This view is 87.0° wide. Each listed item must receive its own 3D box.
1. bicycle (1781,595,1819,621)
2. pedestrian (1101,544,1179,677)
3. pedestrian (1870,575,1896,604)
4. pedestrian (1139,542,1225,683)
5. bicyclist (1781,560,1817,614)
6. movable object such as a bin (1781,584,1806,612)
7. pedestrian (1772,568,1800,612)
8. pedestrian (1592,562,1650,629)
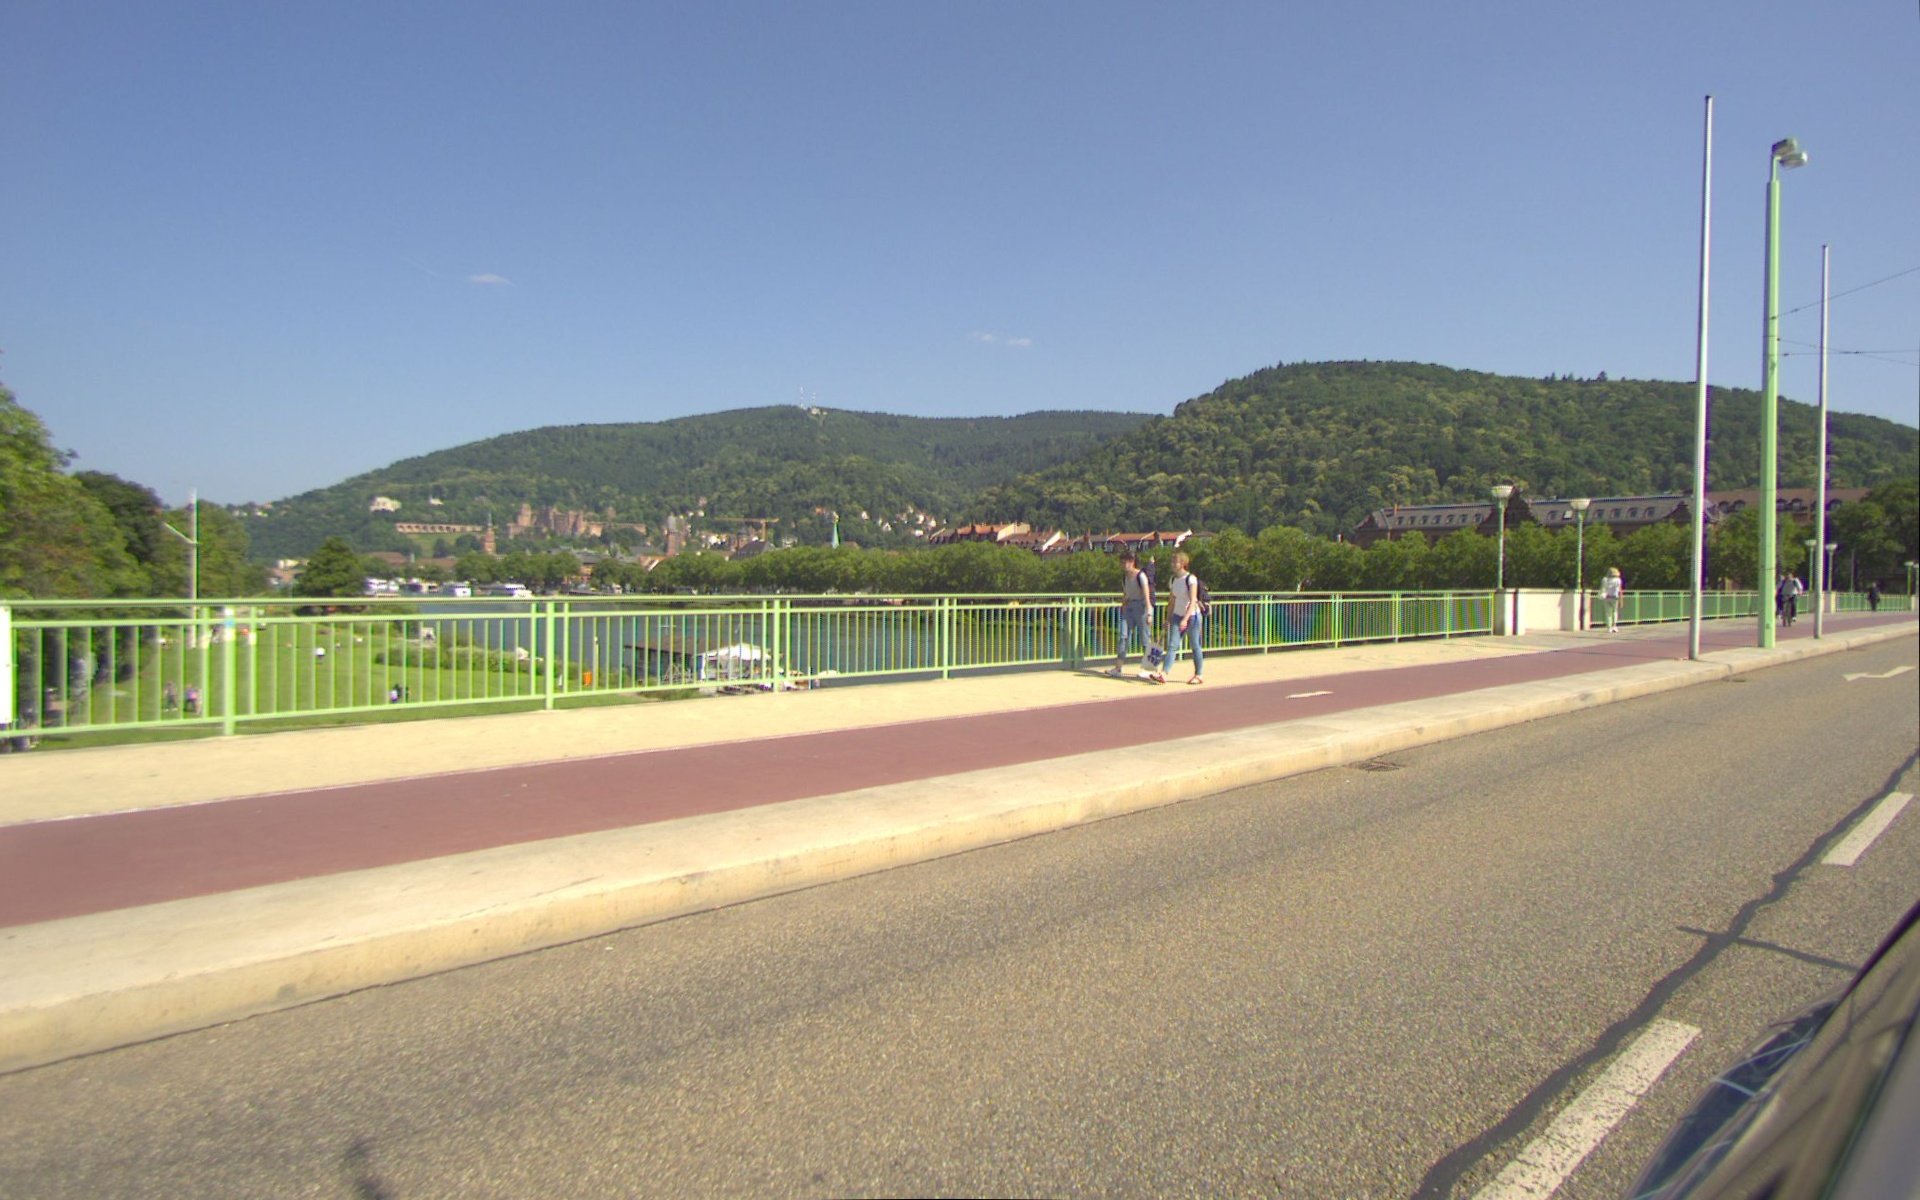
[{"bbox_3d":[26.907,0.259,32.411,1.834,0.775,0.595,-1,3,-41],"label":"bicycle"},{"bbox_3d":[2.369,0.119,13.337,0.733,1.679,0.668,-1,3,-41],"label":"pedestrian"},{"bbox_3d":[53.978,-0.629,59.184,1.063,1.683,0.949,0,3,-41],"label":"pedestrian"},{"bbox_3d":[2.751,0.131,12.554,0.811,1.679,0.664,-1,2,-41],"label":"pedestrian"},{"bbox_3d":[26.762,-0.409,32.280,0.829,1.685,0.731,0,2,-40],"label":"bicyclist"},{"bbox_3d":[33.301,-0.088,40.429,0.917,1.104,0.583,-1,2,-41],"label":"movable object such as a bin"},{"bbox_3d":[32.617,-0.407,39.949,0.844,1.727,0.664,-1,2,-41],"label":"pedestrian"},{"bbox_3d":[17.215,-0.137,26.359,1.063,1.683,0.949,-1,3,-41],"label":"pedestrian"}]
